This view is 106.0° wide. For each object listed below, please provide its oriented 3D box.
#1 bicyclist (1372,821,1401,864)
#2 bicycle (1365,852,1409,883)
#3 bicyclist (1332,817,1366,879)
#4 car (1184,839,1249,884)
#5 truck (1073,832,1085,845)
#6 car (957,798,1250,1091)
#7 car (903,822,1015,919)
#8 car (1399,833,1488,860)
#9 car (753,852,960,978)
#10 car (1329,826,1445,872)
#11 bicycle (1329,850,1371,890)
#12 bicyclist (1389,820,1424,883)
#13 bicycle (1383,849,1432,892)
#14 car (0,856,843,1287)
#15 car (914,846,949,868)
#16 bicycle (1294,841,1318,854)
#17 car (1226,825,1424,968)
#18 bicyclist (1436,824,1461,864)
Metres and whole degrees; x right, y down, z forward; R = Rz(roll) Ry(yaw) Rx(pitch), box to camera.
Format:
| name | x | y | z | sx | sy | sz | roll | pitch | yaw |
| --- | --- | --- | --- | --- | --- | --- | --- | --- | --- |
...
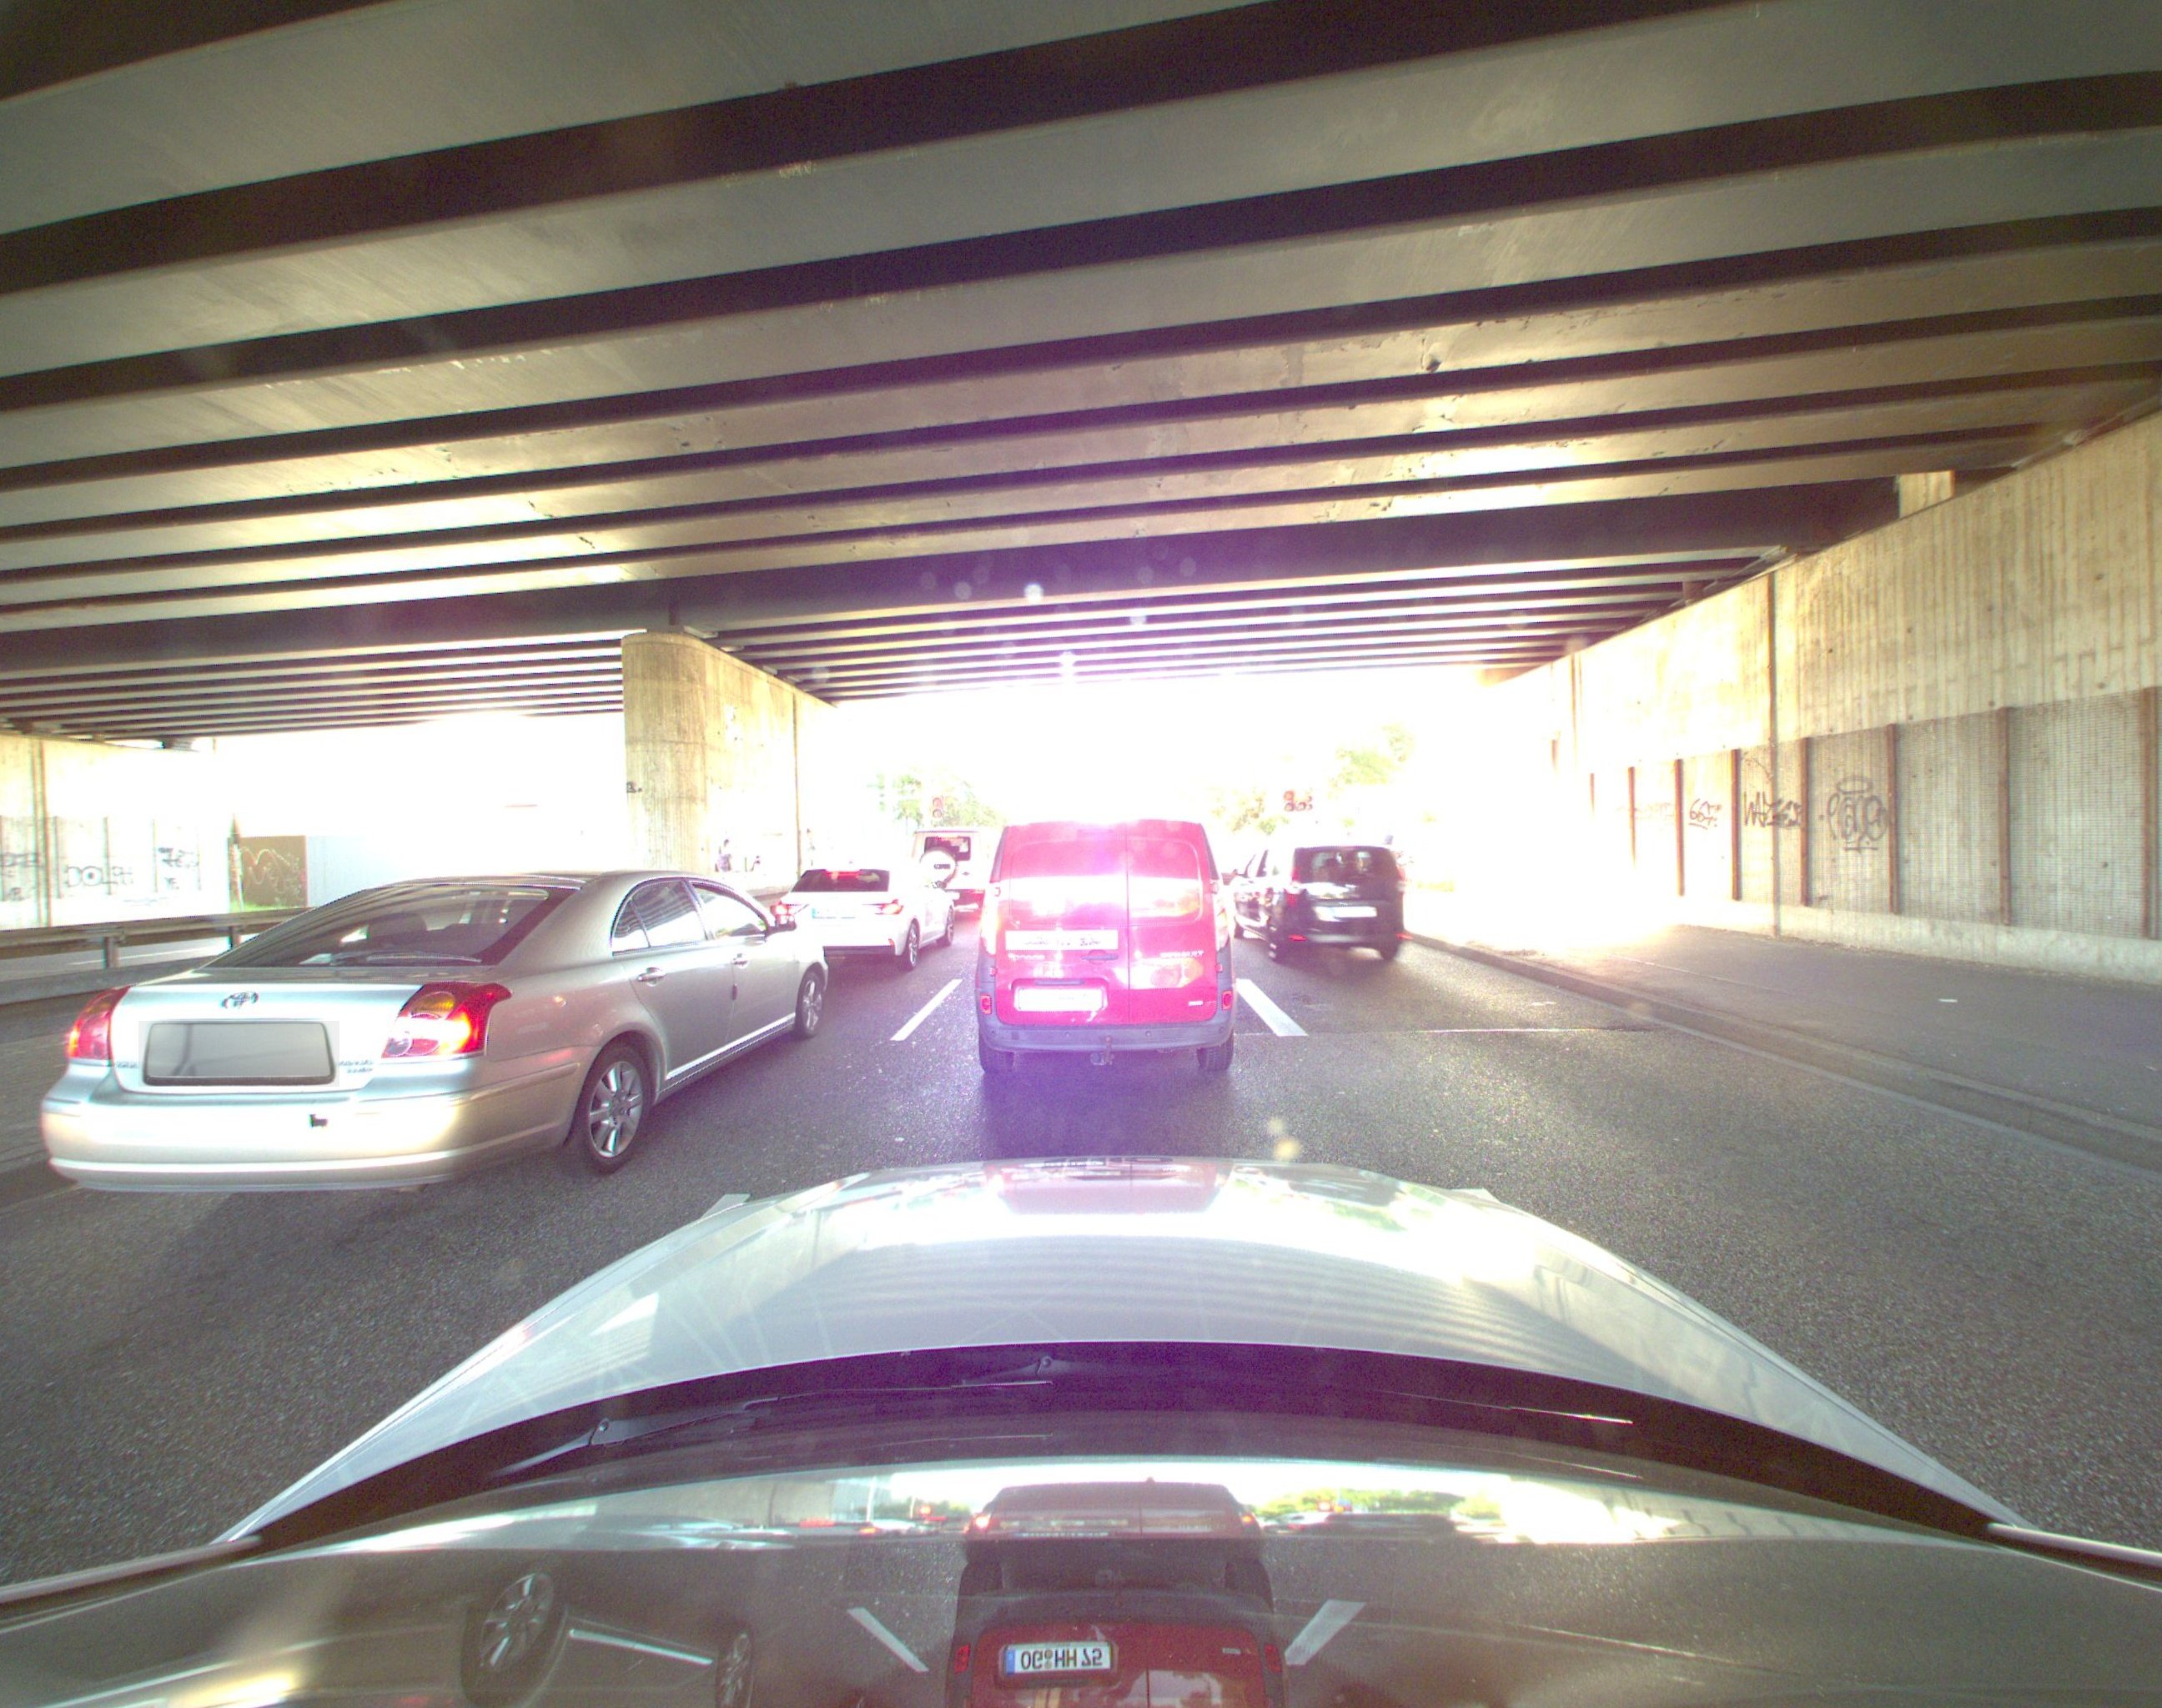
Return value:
| name | x | y | z | sx | sy | sz | roll | pitch | yaw |
| --- | --- | --- | --- | --- | --- | --- | --- | --- | --- |
| bicyclist | 10.443 | -0.382 | 27.816 | 0.658 | 1.474 | 0.755 | -1 | -1 | 43 |
| bicycle | 10.451 | 0.434 | 27.789 | 0.665 | 1.023 | 2.068 | -1 | -1 | 43 |
| bicyclist | 7.134 | -0.165 | 21.714 | 0.589 | 1.613 | 0.943 | 0 | -1 | 2 |
| car | 5.131 | 0.248 | 30.434 | 1.866 | 1.543 | 4.211 | -1 | 0 | 17 |
| truck | -0.463 | -3.681 | 199.359 | 2.399 | 3.026 | 6.661 | -4 | 0 | 3 |
| car | 0.201 | 0.575 | 7.028 | 1.798 | 1.794 | 4.001 | 0 | -1 | 2 |
| car | -2.706 | 0.359 | 19.098 | 1.794 | 1.989 | 4.591 | 0 | -1 | 2 |
| car | 21.389 | -0.407 | 48.184 | 4.521 | 1.514 | 1.832 | 0 | -1 | 9 |
| car | -2.953 | 0.720 | 11.589 | 1.807 | 1.438 | 3.732 | -1 | 1 | 1 |
| car | 13.525 | -0.222 | 36.049 | 4.649 | 1.885 | 1.875 | -1 | 0 | -18 |
| bicycle | 7.154 | 0.425 | 21.712 | 0.589 | 1.023 | 1.751 | 0 | -1 | 2 |
| bicyclist | 8.224 | -0.061 | 20.608 | 0.589 | 1.548 | 0.769 | 0 | -1 | 1 |
| bicycle | 8.240 | 0.408 | 20.605 | 0.589 | 1.023 | 1.751 | 0 | -1 | 2 |
| car | -3.010 | 0.777 | 5.055 | 1.727 | 1.480 | 4.319 | -1 | 0 | 0 |
| car | -13.196 | 0.254 | 72.113 | 1.817 | 1.737 | 4.634 | -4 | 0 | 4 |
| bicycle | 17.187 | -0.499 | 62.133 | 1.734 | 1.023 | 0.595 | -1 | -1 | 10 |
| car | 3.332 | 0.515 | 11.933 | 1.713 | 1.706 | 3.981 | -1 | 0 | 0 |
| bicyclist | 13.974 | -0.393 | 30.963 | 0.649 | 1.480 | 0.617 | -1 | 1 | -8 |
